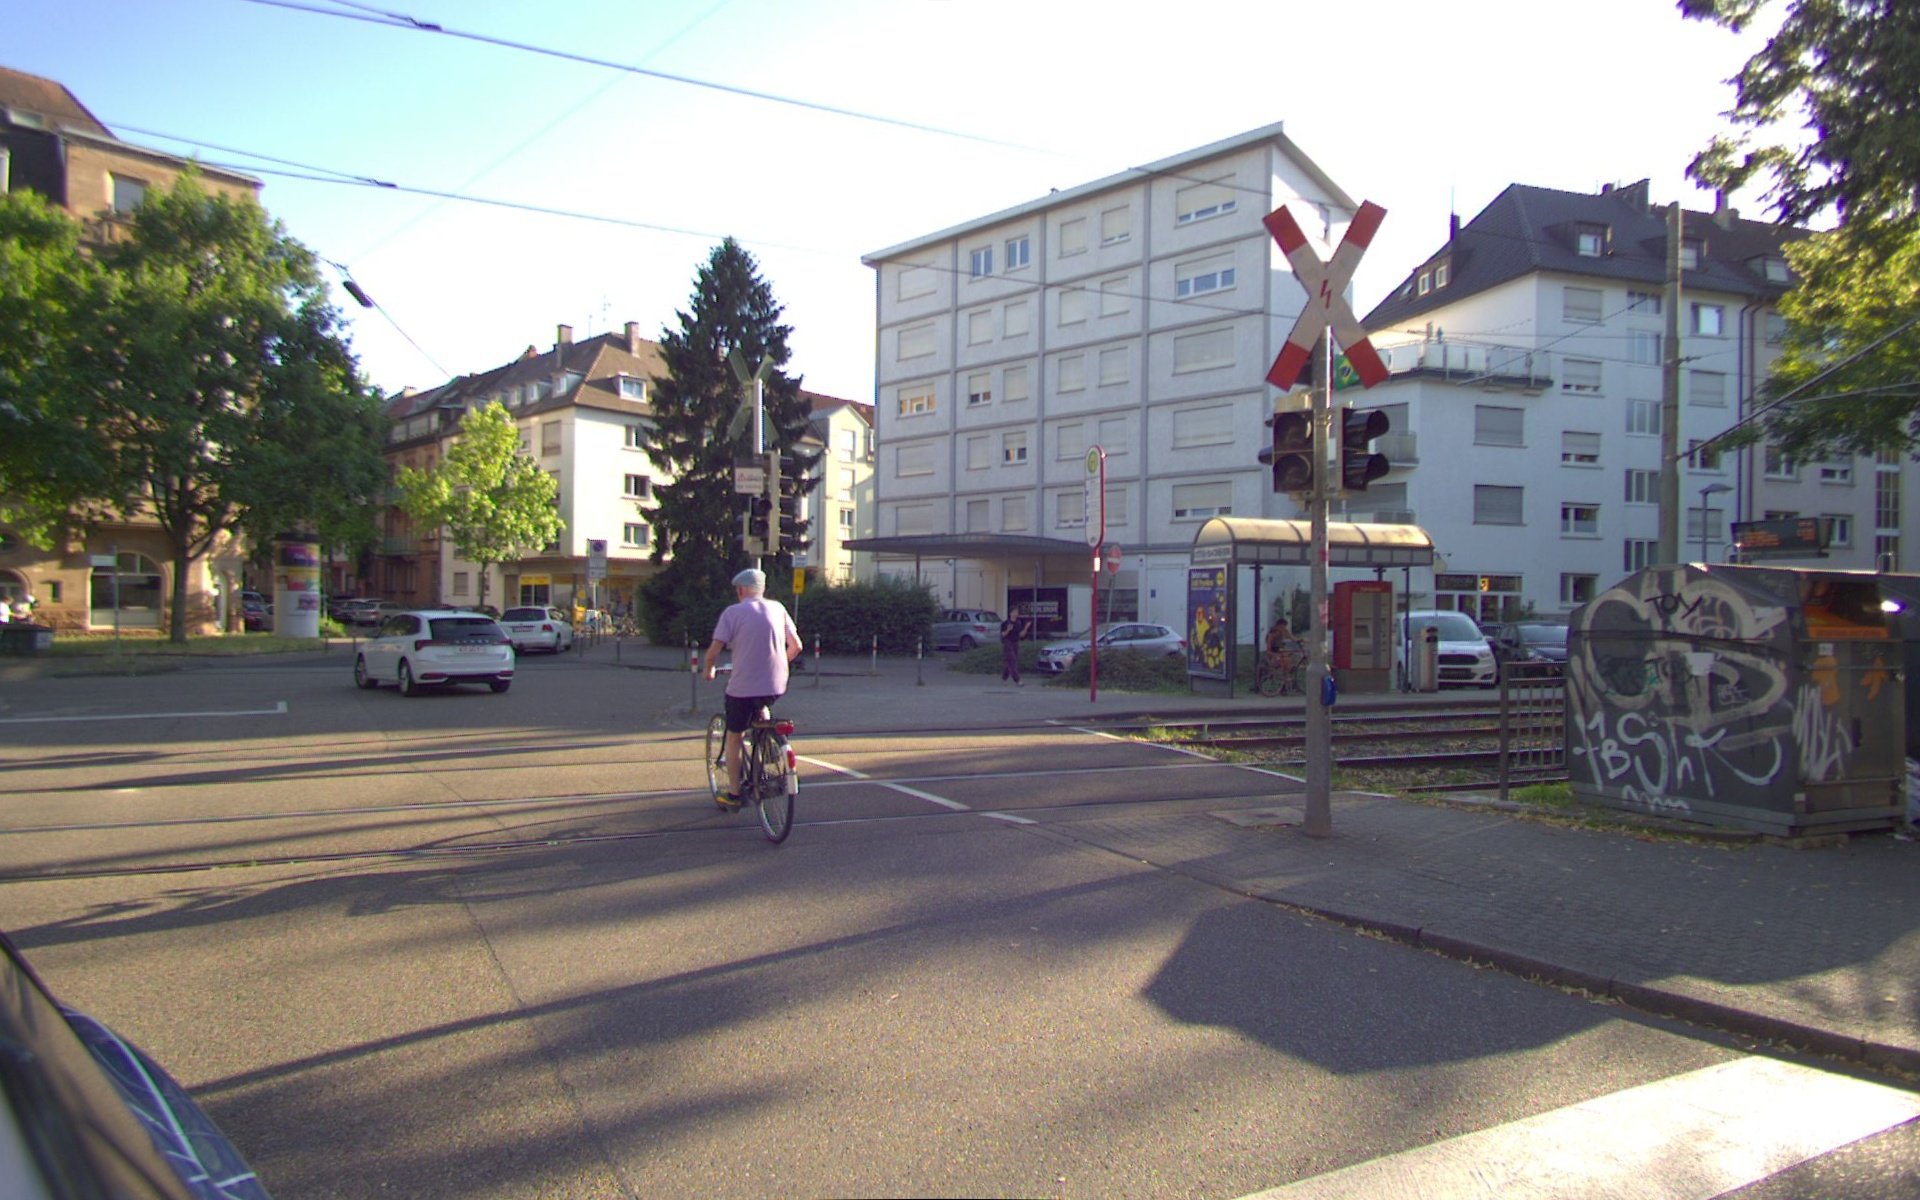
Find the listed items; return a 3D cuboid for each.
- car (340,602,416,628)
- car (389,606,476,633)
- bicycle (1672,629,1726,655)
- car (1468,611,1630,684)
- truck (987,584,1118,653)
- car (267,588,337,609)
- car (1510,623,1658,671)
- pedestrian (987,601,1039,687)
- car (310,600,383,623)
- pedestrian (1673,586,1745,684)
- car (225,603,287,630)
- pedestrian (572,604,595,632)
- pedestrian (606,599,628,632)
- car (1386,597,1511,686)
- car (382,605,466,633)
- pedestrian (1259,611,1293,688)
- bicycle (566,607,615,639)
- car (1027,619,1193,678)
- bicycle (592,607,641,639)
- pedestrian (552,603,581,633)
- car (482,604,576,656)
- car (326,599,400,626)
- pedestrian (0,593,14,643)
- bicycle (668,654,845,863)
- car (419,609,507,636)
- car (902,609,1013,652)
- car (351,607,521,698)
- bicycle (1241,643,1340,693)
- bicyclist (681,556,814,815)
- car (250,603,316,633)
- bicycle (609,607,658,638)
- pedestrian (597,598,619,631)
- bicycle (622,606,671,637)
[{"bbox_3d":[-35.528,0.889,61.908,1.854,1.516,3.985,0,-1,12],"label":"car"},{"bbox_3d":[-28.851,1.060,55.479,1.862,1.410,3.968,0,-1,24],"label":"car"},{"bbox_3d":[29.653,1.670,40.588,2.139,1.011,0.535,0,0,-15],"label":"bicycle"},{"bbox_3d":[12.872,1.112,22.431,1.682,1.448,4.192,-1,-4,10],"label":"car"},{"bbox_3d":[3.605,0.713,39.937,4.970,2.554,1.973,0,-1,41],"label":"truck"},{"bbox_3d":[-46.390,-0.076,71.419,1.854,1.410,3.985,0,-1,12],"label":"car"},{"bbox_3d":[20.144,1.493,32.730,3.934,1.457,1.720,0,-2,-12],"label":"car"},{"bbox_3d":[1.106,0.897,21.263,0.856,1.749,0.833,1,1,-16],"label":"pedestrian"},{"bbox_3d":[-39.872,0.731,65.873,1.854,1.410,3.985,0,-1,12],"label":"car"},{"bbox_3d":[15.119,0.698,20.444,0.823,1.925,0.854,1,-1,-21],"label":"pedestrian"},{"bbox_3d":[-37.121,0.852,53.324,4.000,1.410,1.847,0,-1,43],"label":"car"},{"bbox_3d":[-21.539,1.014,57.904,0.891,1.581,0.950,0,-1,42],"label":"pedestrian"},{"bbox_3d":[-19.623,0.872,57.943,0.852,1.889,0.879,0,-1,41],"label":"pedestrian"},{"bbox_3d":[10.093,0.945,21.212,1.593,1.665,4.218,-2,-4,16],"label":"car"},{"bbox_3d":[-30.775,1.067,58.198,1.864,1.580,3.964,0,-1,26],"label":"car"},{"bbox_3d":[5.471,0.855,17.539,0.444,1.311,0.339,1,-1,-17],"label":"pedestrian"},{"bbox_3d":[-18.101,1.104,49.544,3.381,1.456,0.868,1,0,44],"label":"bicycle"},{"bbox_3d":[3.912,1.241,26.458,3.931,1.457,1.721,0,-2,-19],"label":"car"},{"bbox_3d":[-17.158,1.124,50.474,3.381,1.456,0.868,1,0,44],"label":"bicycle"},{"bbox_3d":[-22.002,0.988,56.628,0.963,1.679,1.198,0,-1,42],"label":"pedestrian"},{"bbox_3d":[-13.154,0.885,31.139,1.891,1.461,4.306,-1,0,-12],"label":"car"},{"bbox_3d":[-37.802,0.790,64.166,1.854,1.648,3.985,0,-1,12],"label":"car"},{"bbox_3d":[-33.598,0.639,35.235,0.675,1.731,0.899,-3,-2,43],"label":"pedestrian"},{"bbox_3d":[-1.436,0.944,6.779,0.689,1.062,2.131,1,0,-24],"label":"bicycle"},{"bbox_3d":[-26.645,1.175,54.378,1.862,1.410,3.968,0,-1,24],"label":"car"},{"bbox_3d":[-0.137,1.106,38.136,4.002,1.544,1.971,0,-1,45],"label":"car"},{"bbox_3d":[-9.636,0.875,18.476,1.682,1.468,4.066,1,-1,-44],"label":"car"},{"bbox_3d":[5.607,1.142,17.149,1.615,0.789,0.452,0,-1,-16],"label":"bicycle"},{"bbox_3d":[-1.442,0.530,6.785,0.689,1.600,0.877,1,-1,-24],"label":"bicyclist"},{"bbox_3d":[-33.434,0.873,49.953,4.000,1.410,1.847,0,-1,43],"label":"car"},{"bbox_3d":[-16.599,1.127,51.421,3.381,1.456,0.868,1,0,44],"label":"bicycle"},{"bbox_3d":[-20.322,0.844,58.411,0.852,1.889,0.879,0,-1,41],"label":"pedestrian"},{"bbox_3d":[-16.314,1.103,52.589,3.381,1.456,0.868,3,1,44],"label":"bicycle"}]
